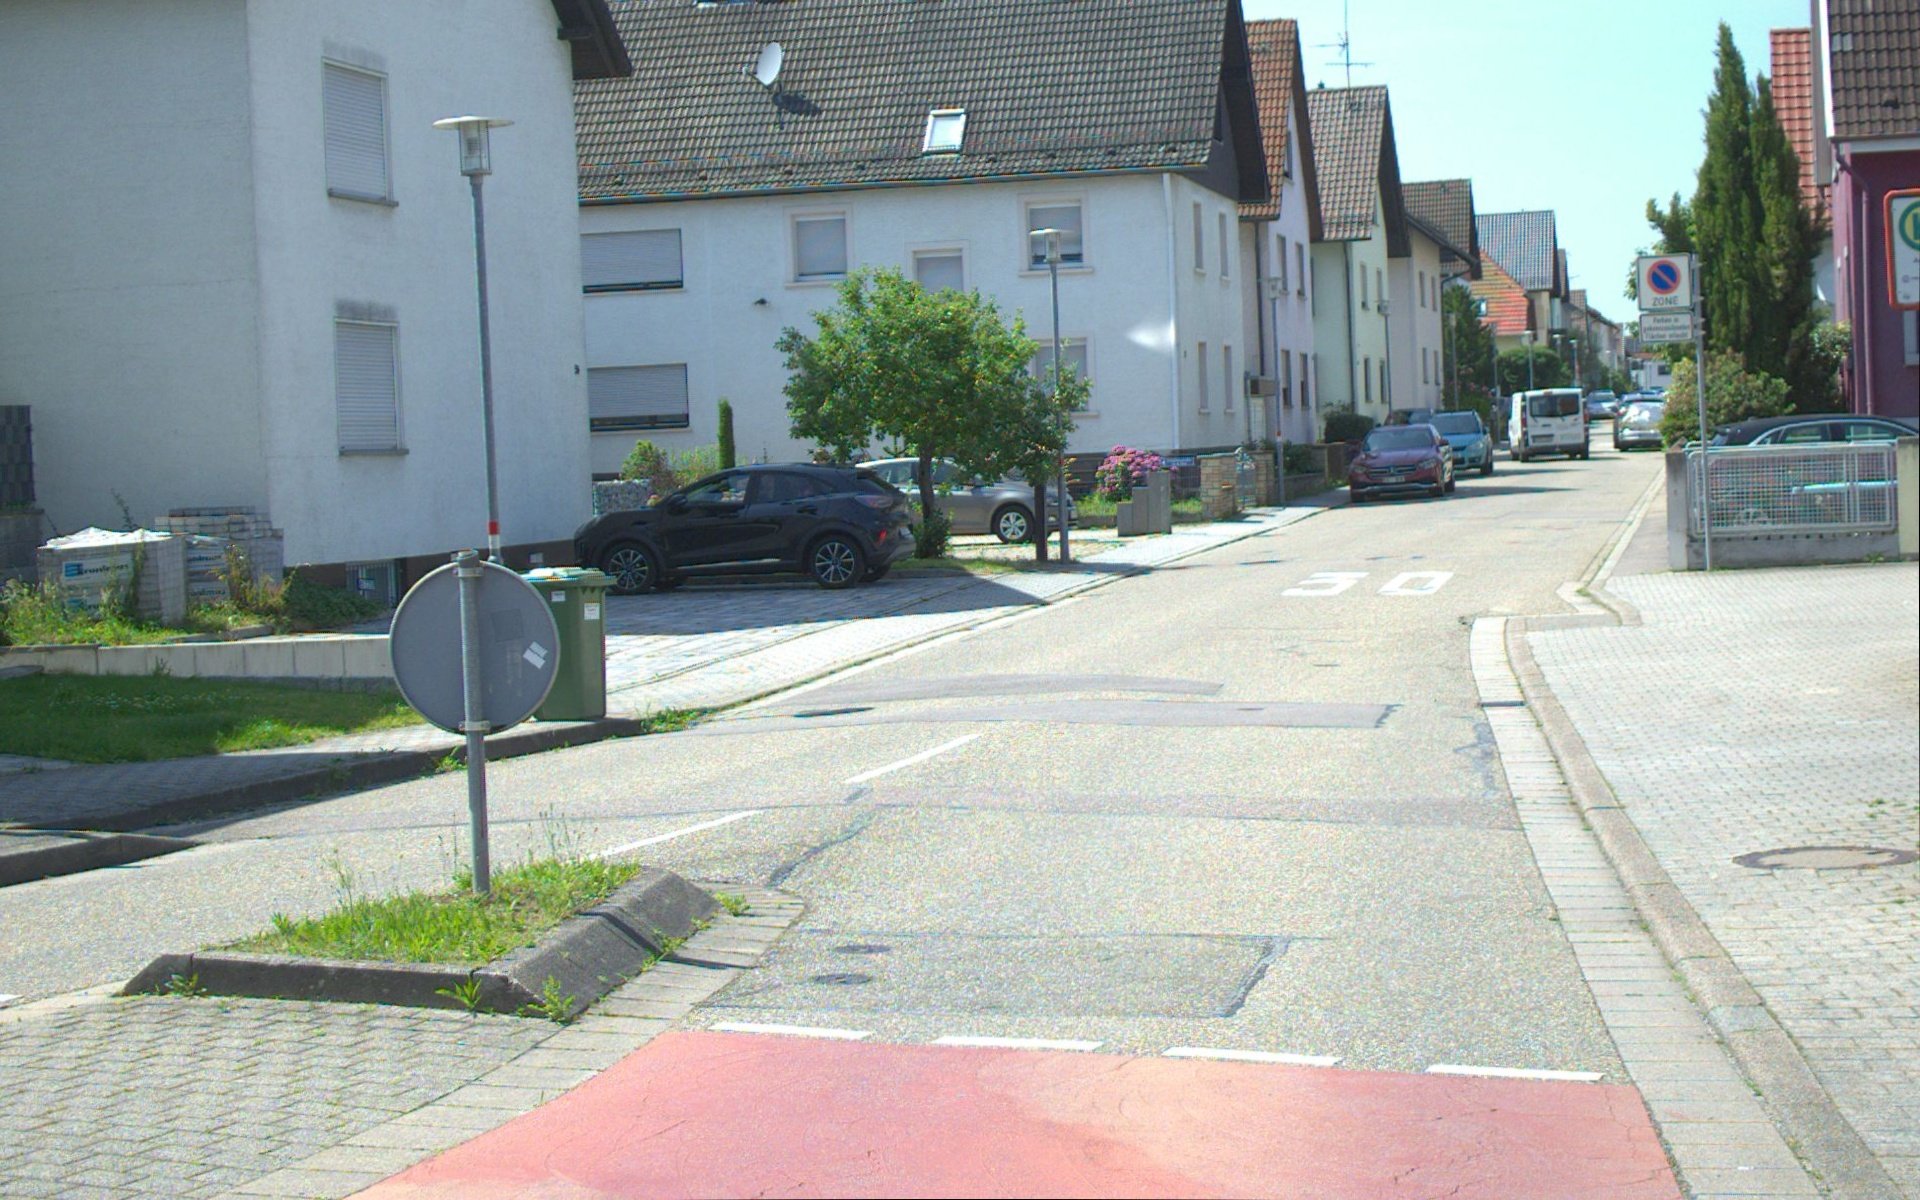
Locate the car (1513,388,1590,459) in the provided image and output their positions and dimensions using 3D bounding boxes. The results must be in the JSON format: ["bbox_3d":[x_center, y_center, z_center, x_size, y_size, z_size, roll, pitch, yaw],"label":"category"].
[{"bbox_3d":[16.290,-4.840,94.586,1.852,1.781,3.998,-2,1,12],"label":"car"}]

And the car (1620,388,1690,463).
[{"bbox_3d":[20.779,-5.191,102.679,1.953,2.065,3.998,-2,1,12],"label":"car"}]

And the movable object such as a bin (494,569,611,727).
[{"bbox_3d":[-2.876,0.336,24.273,0.646,1.080,0.458,-1,2,20],"label":"movable object such as a bin"}]

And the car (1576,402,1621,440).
[{"bbox_3d":[32.987,-9.245,177.566,1.955,1.807,3.997,0,1,15],"label":"car"}]

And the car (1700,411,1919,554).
[{"bbox_3d":[10.298,-1.401,41.194,2.745,1.592,1.171,-2,1,13],"label":"car"}]

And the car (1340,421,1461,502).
[{"bbox_3d":[8.975,-2.827,69.820,1.995,1.548,3.998,-1,2,13],"label":"car"}]

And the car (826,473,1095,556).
[{"bbox_3d":[0.024,-1.367,54.699,3.988,1.186,1.840,-1,2,10],"label":"car"}]

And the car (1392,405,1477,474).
[{"bbox_3d":[11.595,-3.915,84.148,1.924,1.598,3.999,-2,2,7],"label":"car"}]

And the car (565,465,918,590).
[{"bbox_3d":[-2.649,-0.895,42.015,3.988,1.378,1.660,-1,2,10],"label":"car"}]
